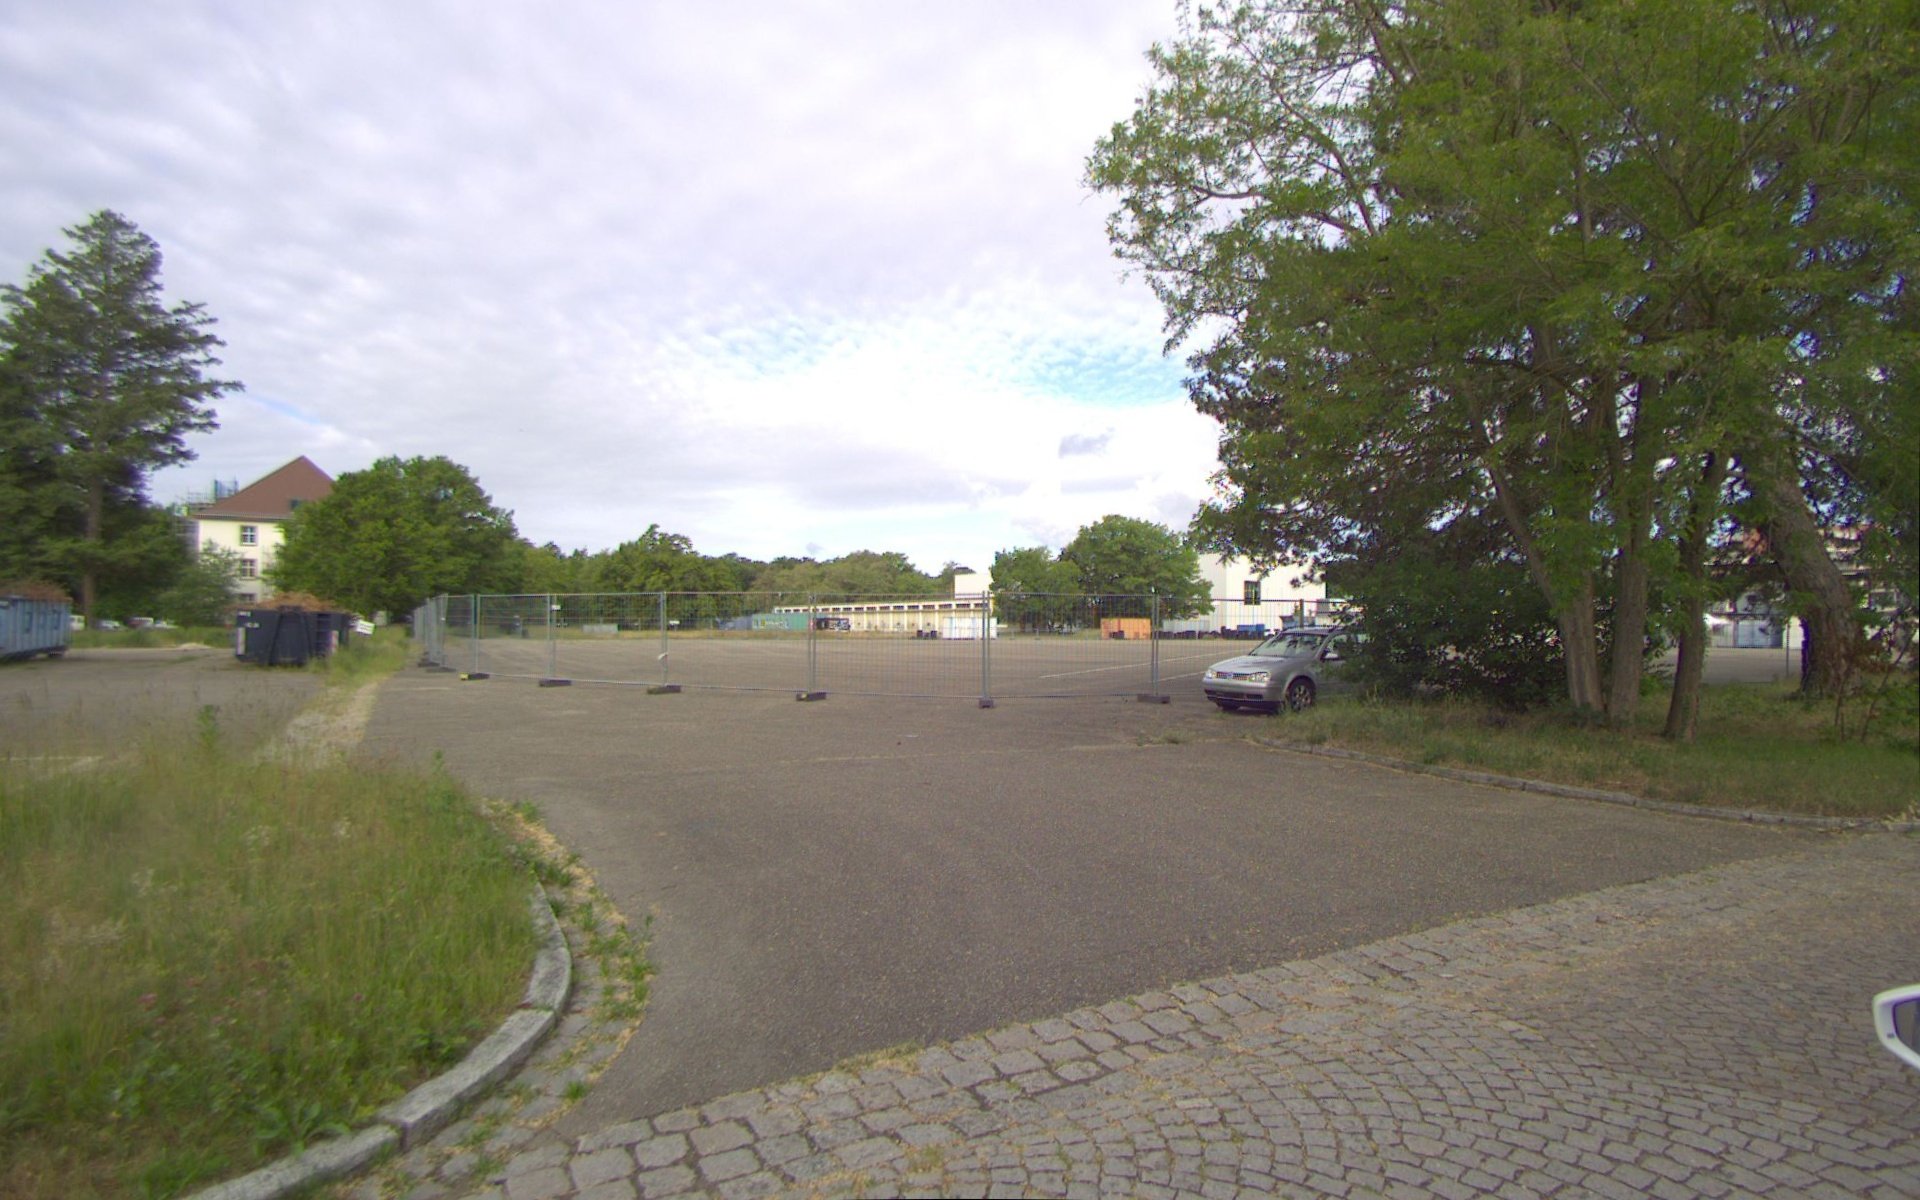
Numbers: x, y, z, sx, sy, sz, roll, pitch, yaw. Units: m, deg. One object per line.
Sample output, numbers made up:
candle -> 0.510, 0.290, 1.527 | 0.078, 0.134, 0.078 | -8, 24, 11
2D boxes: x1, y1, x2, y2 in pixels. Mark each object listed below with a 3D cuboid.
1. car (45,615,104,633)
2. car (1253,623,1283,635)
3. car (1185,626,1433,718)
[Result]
car -> -91.131, 2.458, 103.414 | 4.237, 1.746, 1.816 | 1, 1, -29
car -> 44.209, 4.117, 144.210 | 1.808, 1.655, 4.088 | 1, -1, -28
car -> 6.181, 1.184, 17.645 | 4.372, 1.435, 1.815 | 1, -1, -32
